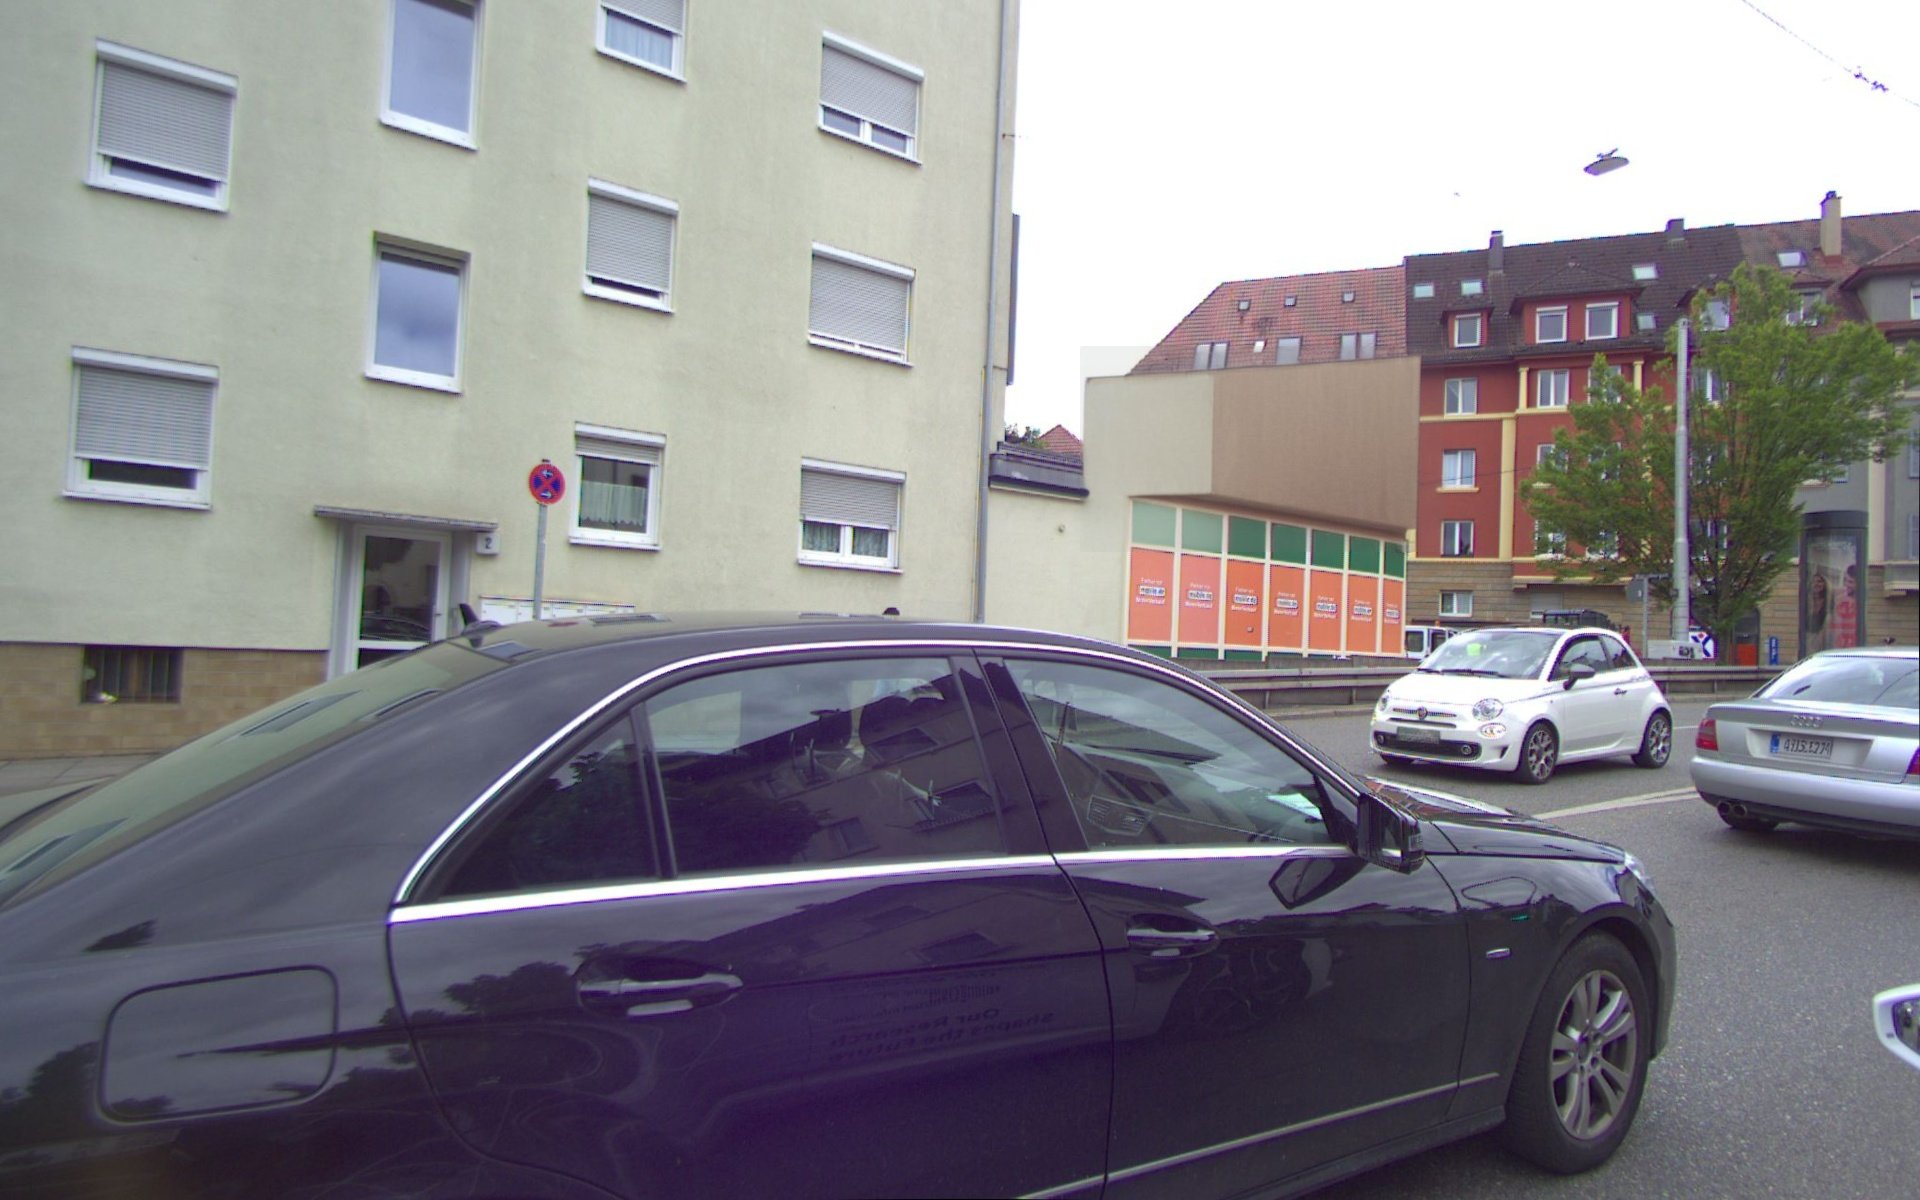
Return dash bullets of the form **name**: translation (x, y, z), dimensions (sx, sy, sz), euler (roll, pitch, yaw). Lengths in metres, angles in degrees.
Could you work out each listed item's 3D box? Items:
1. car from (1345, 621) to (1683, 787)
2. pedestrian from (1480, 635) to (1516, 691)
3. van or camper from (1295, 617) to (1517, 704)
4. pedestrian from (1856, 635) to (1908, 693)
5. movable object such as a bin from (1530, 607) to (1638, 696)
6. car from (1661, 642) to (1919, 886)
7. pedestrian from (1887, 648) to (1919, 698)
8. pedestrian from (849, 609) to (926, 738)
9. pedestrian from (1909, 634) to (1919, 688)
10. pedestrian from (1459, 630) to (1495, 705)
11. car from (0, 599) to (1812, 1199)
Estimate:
- **car**: translation (5.841, 0.990, 10.515), dimensions (3.490, 1.466, 1.590), euler (2, -2, -31)
- **pedestrian**: translation (13.639, 1.585, 25.470), dimensions (0.613, 1.381, 0.602), euler (0, -2, 4)
- **van or camper**: translation (13.418, 1.743, 30.473), dimensions (5.893, 2.369, 2.686), euler (0, -2, 26)
- **pedestrian**: translation (25.641, 1.773, 27.945), dimensions (0.724, 1.567, 0.795), euler (1, 0, -2)
- **movable object such as a bin**: translation (15.463, 1.246, 24.849), dimensions (3.510, 2.040, 1.362), euler (2, -2, -42)
- **car**: translation (7.126, 1.010, 7.184), dimensions (4.071, 1.383, 1.624), euler (1, -2, -24)
- **pedestrian**: translation (26.469, 2.030, 28.076), dimensions (0.573, 1.356, 0.576), euler (1, -1, -3)
- **pedestrian**: translation (-0.968, 0.952, 13.367), dimensions (0.770, 1.658, 0.684), euler (1, -1, -33)
- **pedestrian**: translation (27.116, 1.721, 28.119), dimensions (0.641, 1.507, 0.523), euler (1, -1, -8)
- **pedestrian**: translation (14.364, 1.860, 27.943), dimensions (0.810, 2.040, 0.680), euler (0, -1, 21)
- **car**: translation (0.120, 0.768, 2.782), dimensions (4.786, 1.448, 1.984), euler (1, -1, -31)
